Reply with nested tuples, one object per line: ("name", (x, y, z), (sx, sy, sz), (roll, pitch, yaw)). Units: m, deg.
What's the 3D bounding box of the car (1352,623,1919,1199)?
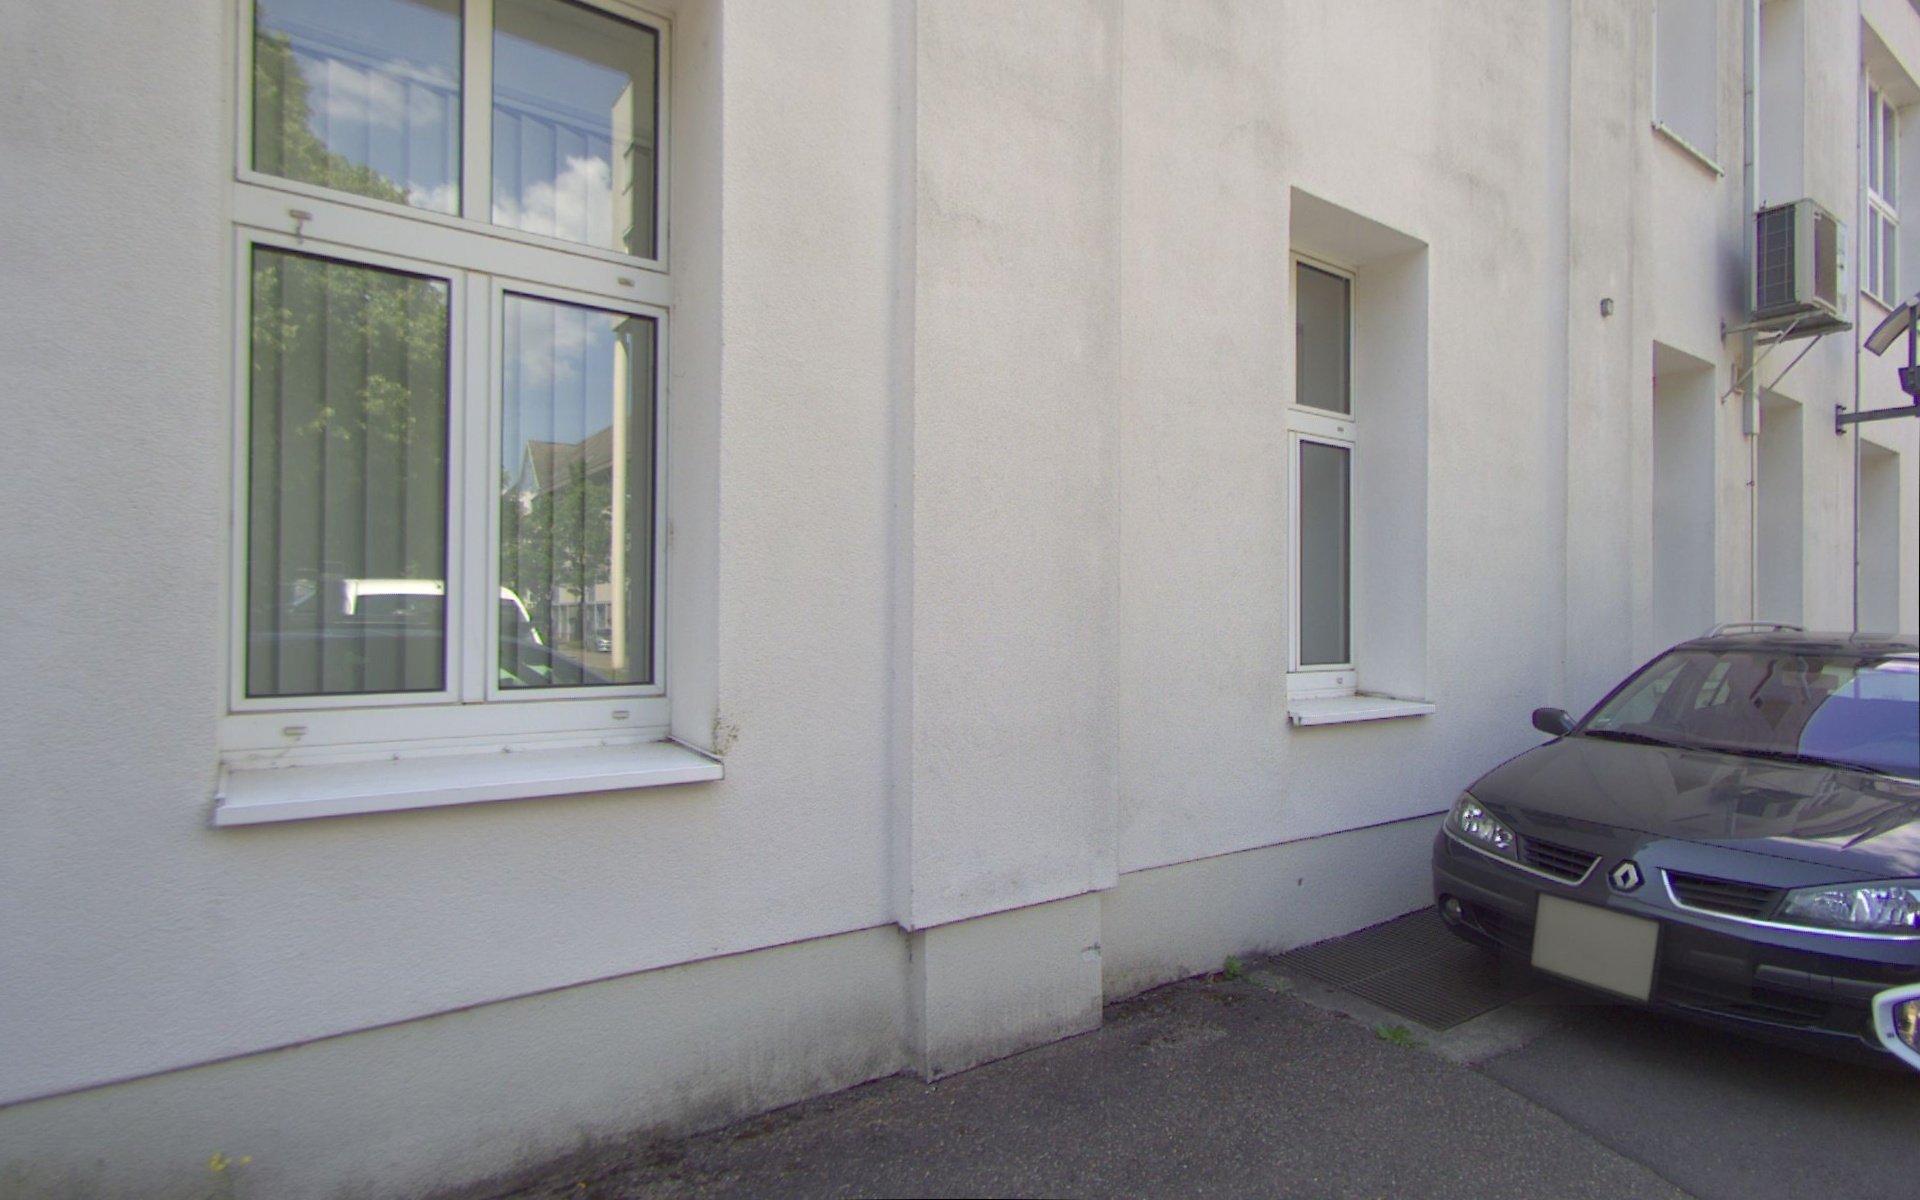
("car", (3.794, 0.848, 4.459), (4.342, 1.449, 1.743), (0, -1, -35))
